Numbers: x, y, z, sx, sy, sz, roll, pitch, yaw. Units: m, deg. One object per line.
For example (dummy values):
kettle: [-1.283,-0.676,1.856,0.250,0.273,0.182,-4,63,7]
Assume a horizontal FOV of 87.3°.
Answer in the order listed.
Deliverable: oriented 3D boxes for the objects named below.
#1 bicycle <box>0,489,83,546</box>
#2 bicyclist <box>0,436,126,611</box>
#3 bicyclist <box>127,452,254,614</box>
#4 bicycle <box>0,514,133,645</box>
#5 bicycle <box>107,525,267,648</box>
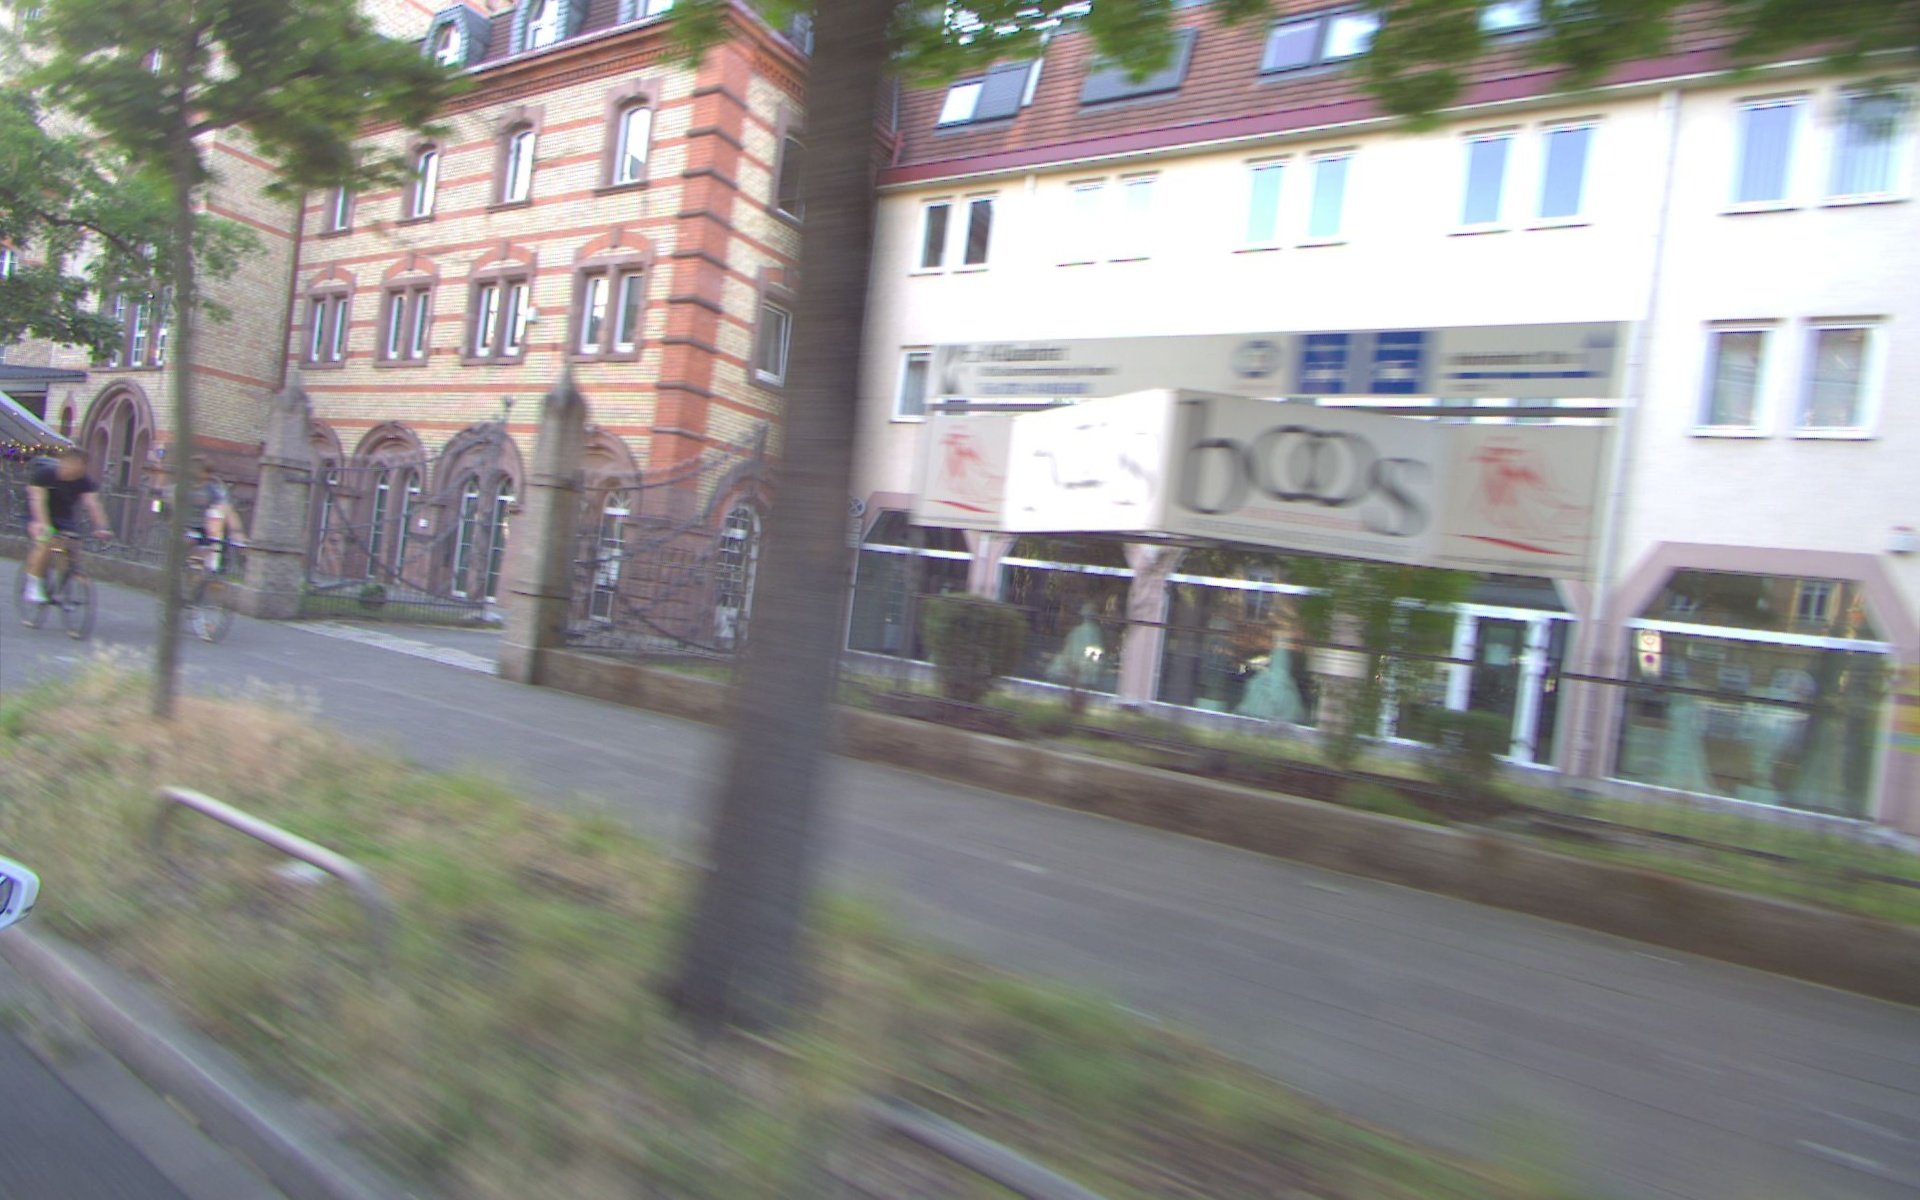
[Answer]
bicycle: [-19.481,-1.741,21.112,0.526,0.957,1.448,7,-3,32]
bicyclist: [-8.728,-0.740,9.723,0.878,1.549,0.597,7,-2,31]
bicyclist: [-8.080,-0.704,10.565,0.878,1.549,0.597,7,-2,31]
bicycle: [-8.844,-0.233,9.739,2.054,1.051,0.545,7,-2,31]
bicycle: [-8.153,-0.162,10.583,2.054,1.051,0.518,7,-2,31]
